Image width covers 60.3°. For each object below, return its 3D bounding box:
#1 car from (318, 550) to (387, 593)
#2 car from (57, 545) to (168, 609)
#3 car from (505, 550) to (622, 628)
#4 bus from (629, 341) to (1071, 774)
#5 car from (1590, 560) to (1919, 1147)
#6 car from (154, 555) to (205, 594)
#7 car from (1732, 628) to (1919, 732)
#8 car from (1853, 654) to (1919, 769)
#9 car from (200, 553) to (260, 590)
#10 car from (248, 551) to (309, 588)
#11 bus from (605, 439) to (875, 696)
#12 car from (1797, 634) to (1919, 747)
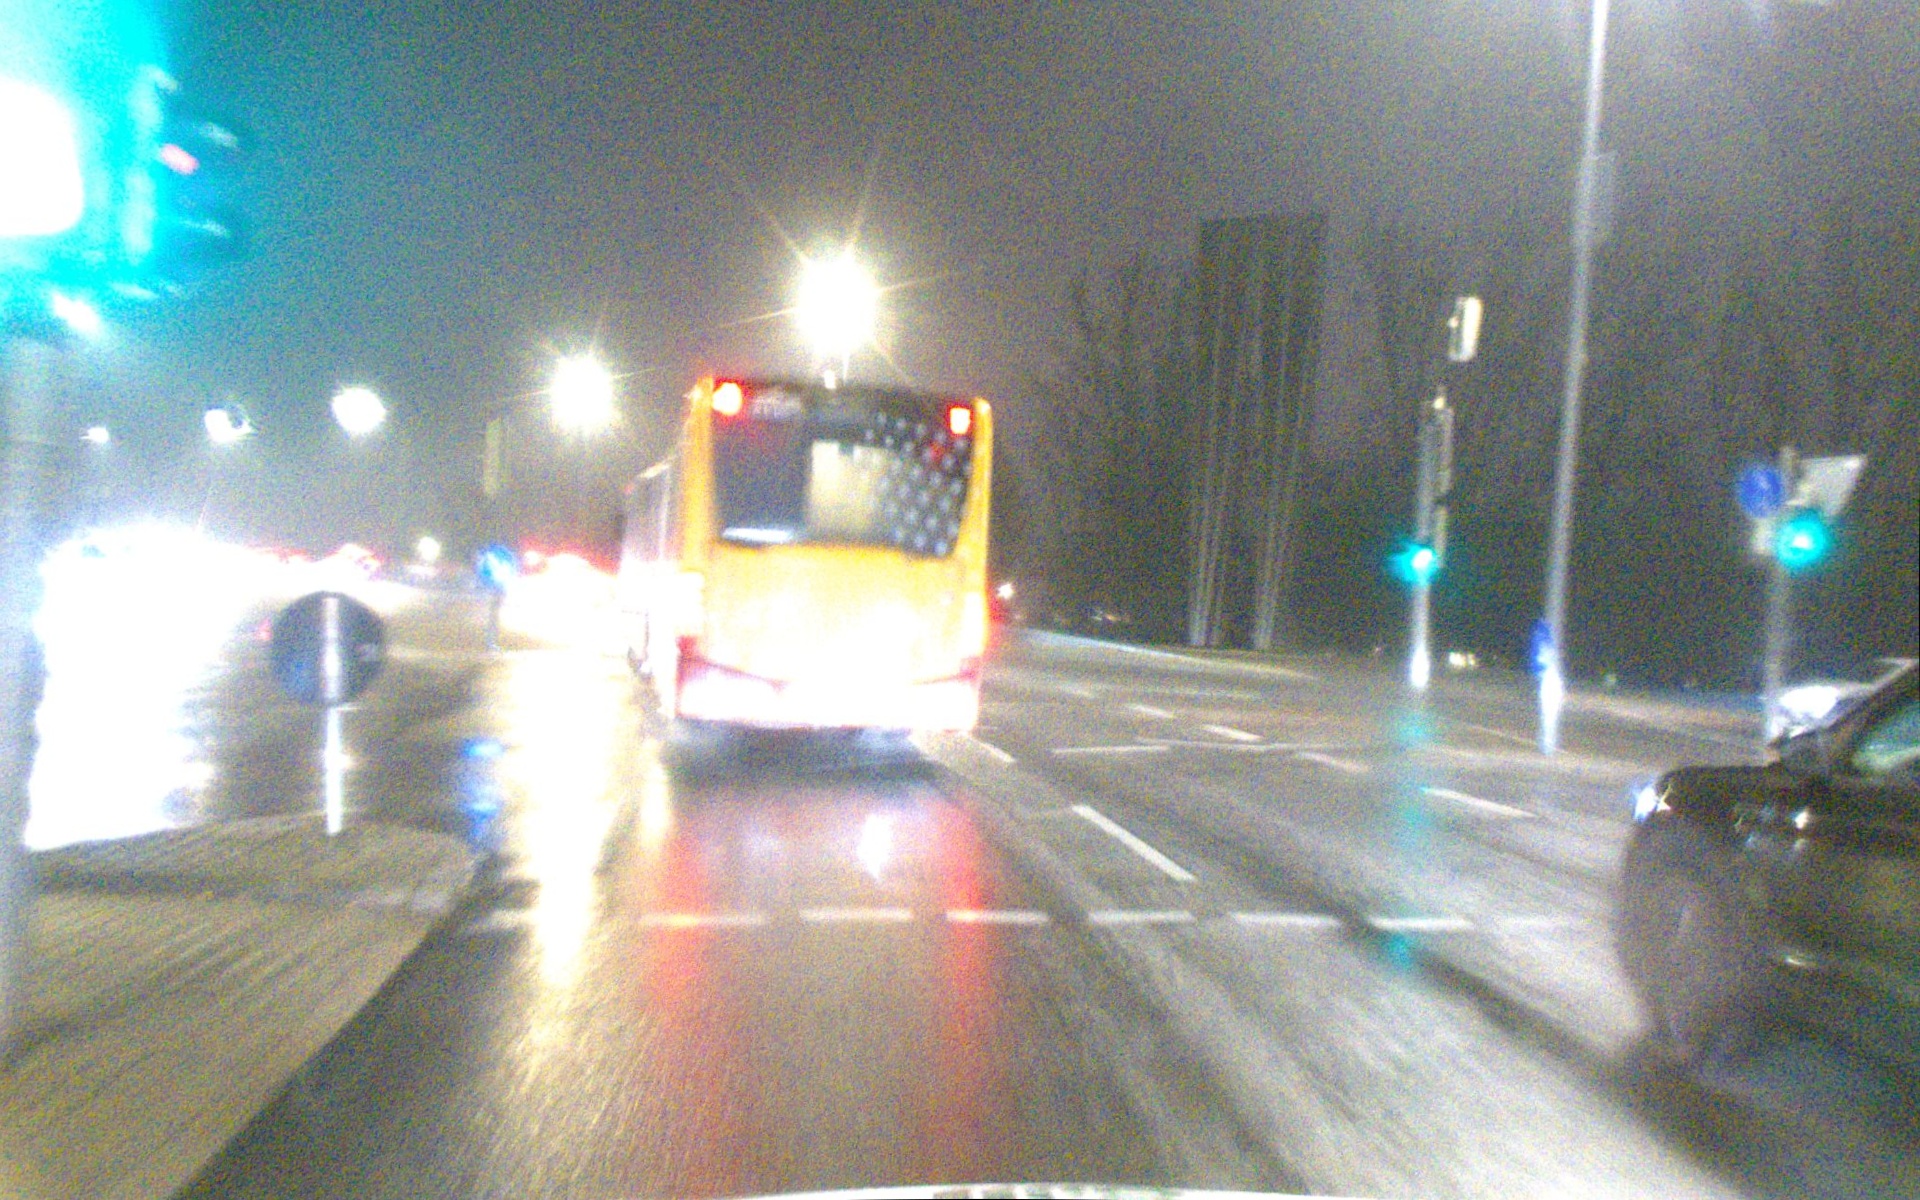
[{"bbox_3d":[-25.591,-1.203,69.592,1.799,1.646,3.954,4,-1,-33],"label":"car"},{"bbox_3d":[-20.393,-0.575,39.955,1.780,1.376,4.120,3,0,-20],"label":"car"},{"bbox_3d":[-11.632,-0.335,48.324,1.974,2.049,4.301,4,-1,-32],"label":"car"},{"bbox_3d":[-1.724,-0.361,17.243,3.227,3.103,9.517,3,0,-12],"label":"bus"},{"bbox_3d":[3.399,0.716,4.271,1.645,1.548,3.955,4,-1,-6],"label":"car"},{"bbox_3d":[-32.867,-1.050,69.680,1.800,1.473,4.623,4,-1,-25],"label":"car"},{"bbox_3d":[16.202,1.451,29.317,4.080,1.545,1.857,4,1,-1],"label":"car"},{"bbox_3d":[14.096,1.561,21.505,3.961,1.369,1.747,4,1,-1],"label":"car"},{"bbox_3d":[-40.330,-1.583,91.349,2.075,1.671,3.680,8,-2,-38],"label":"car"},{"bbox_3d":[-34.042,-1.532,82.586,1.802,1.646,3.948,4,-1,-37],"label":"car"},{"bbox_3d":[-3.784,-0.538,26.149,3.192,3.174,8.617,4,1,-13],"label":"bus"},{"bbox_3d":[15.673,1.492,25.642,4.393,1.545,1.857,4,1,-1],"label":"car"}]
